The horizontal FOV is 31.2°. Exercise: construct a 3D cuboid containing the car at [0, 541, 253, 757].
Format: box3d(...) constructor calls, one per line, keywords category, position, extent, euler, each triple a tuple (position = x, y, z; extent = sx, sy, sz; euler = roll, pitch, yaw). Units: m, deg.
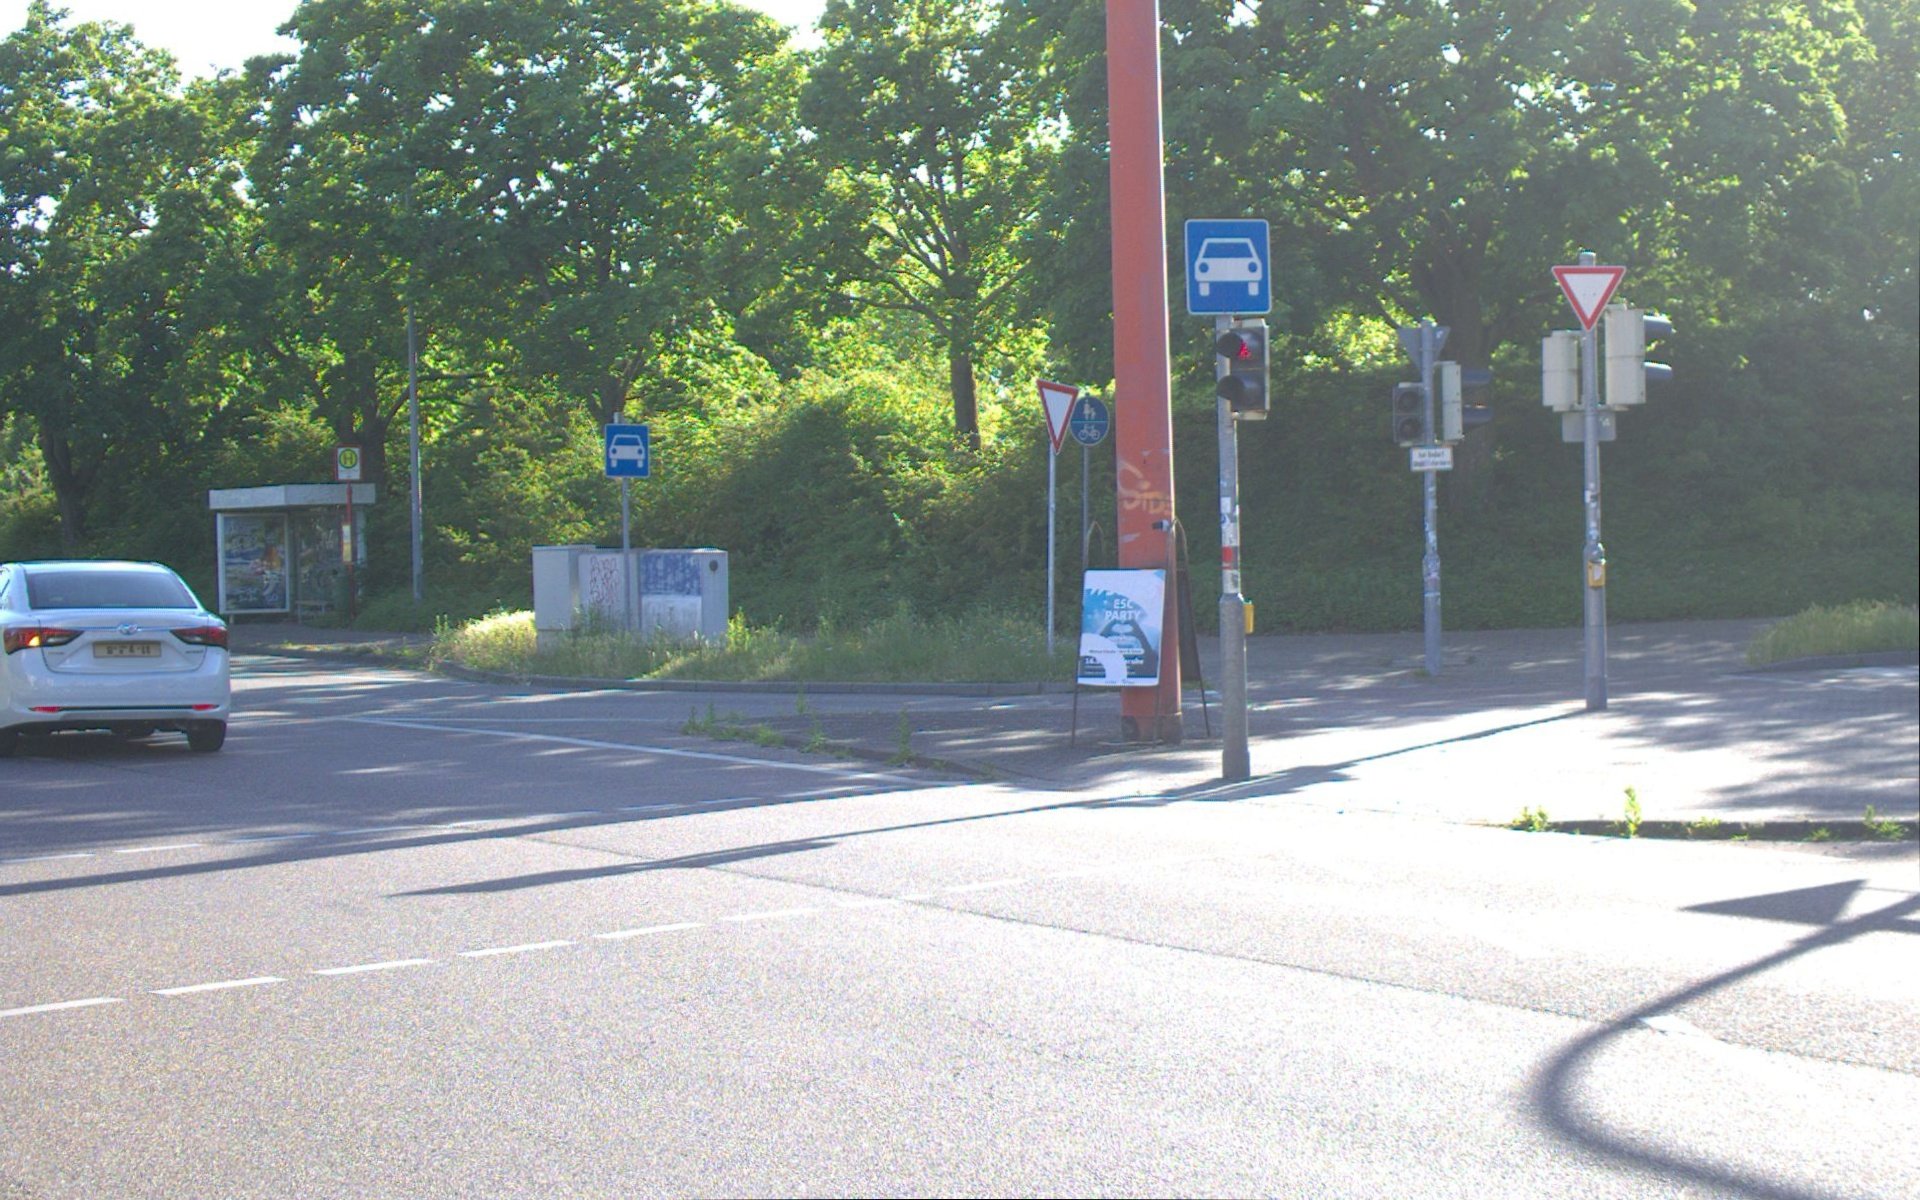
box3d(category="car", position=(-6.934, 0.311, 26.900), extent=(1.767, 1.459, 4.367), euler=(-2, 2, -25))
